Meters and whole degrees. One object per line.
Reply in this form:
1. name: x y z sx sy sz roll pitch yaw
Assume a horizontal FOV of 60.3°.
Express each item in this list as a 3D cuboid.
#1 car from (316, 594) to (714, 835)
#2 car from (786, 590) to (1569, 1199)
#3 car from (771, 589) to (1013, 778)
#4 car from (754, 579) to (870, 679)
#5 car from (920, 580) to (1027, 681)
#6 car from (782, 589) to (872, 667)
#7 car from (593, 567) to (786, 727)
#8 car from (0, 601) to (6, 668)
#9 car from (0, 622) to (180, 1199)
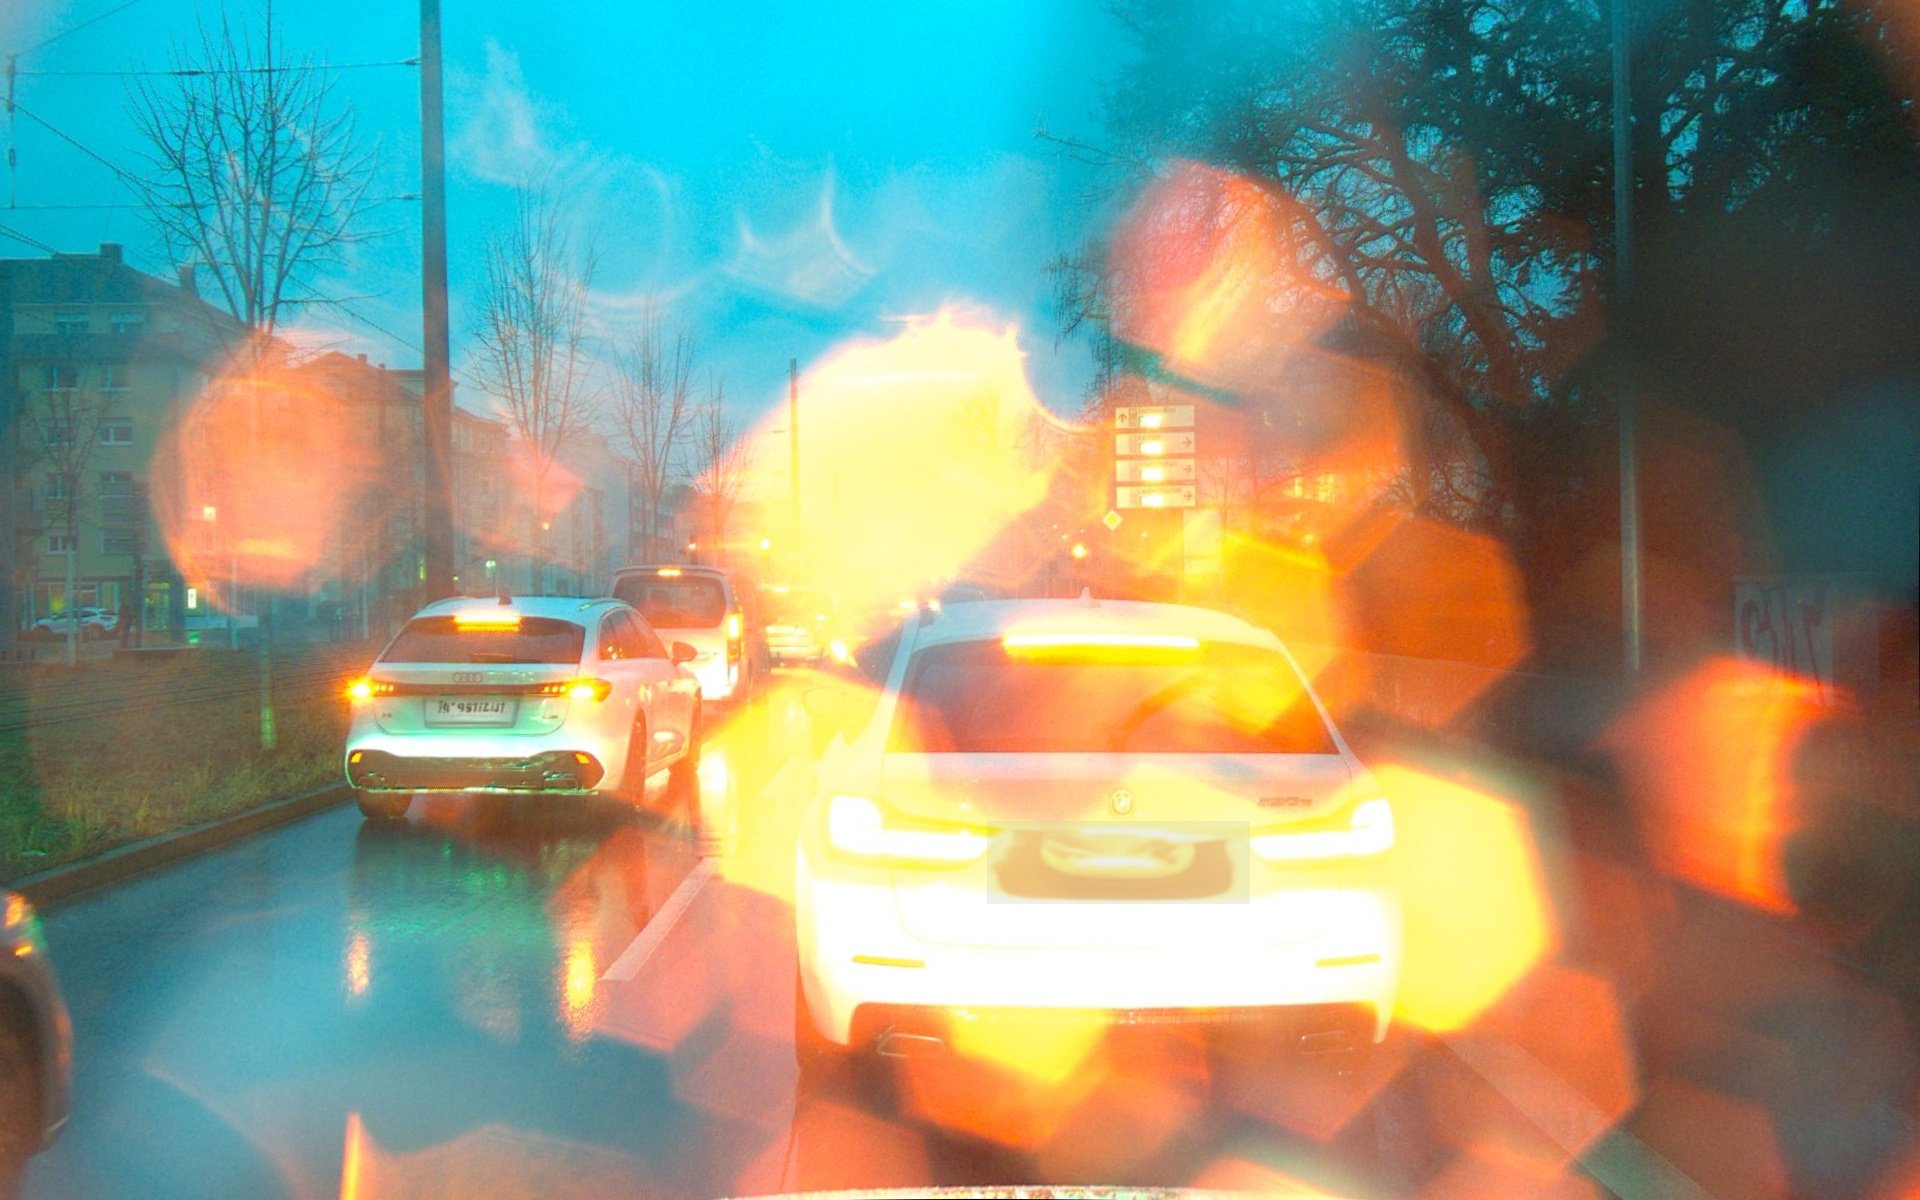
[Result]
1. car: -2.988 0.687 12.163 1.809 1.430 4.612 0 0 -2
2. car: 0.519 0.733 6.209 1.958 1.534 4.163 0 0 -1
3. car: -0.562 0.642 15.067 1.896 1.483 4.163 0 0 -1
4. car: -2.599 0.470 29.829 1.770 1.674 3.999 0 0 -1
5. car: 0.199 0.493 29.404 1.770 1.674 3.999 0 0 -1
6. car: -2.984 0.595 37.838 1.770 1.674 3.999 0 0 -1
7. car: -3.236 0.524 20.600 1.757 1.766 4.536 0 0 -2
8. car: -29.650 1.058 46.023 1.954 1.945 5.159 -1 0 26
9. car: -2.772 0.748 2.145 1.727 1.395 3.980 0 0 -2
